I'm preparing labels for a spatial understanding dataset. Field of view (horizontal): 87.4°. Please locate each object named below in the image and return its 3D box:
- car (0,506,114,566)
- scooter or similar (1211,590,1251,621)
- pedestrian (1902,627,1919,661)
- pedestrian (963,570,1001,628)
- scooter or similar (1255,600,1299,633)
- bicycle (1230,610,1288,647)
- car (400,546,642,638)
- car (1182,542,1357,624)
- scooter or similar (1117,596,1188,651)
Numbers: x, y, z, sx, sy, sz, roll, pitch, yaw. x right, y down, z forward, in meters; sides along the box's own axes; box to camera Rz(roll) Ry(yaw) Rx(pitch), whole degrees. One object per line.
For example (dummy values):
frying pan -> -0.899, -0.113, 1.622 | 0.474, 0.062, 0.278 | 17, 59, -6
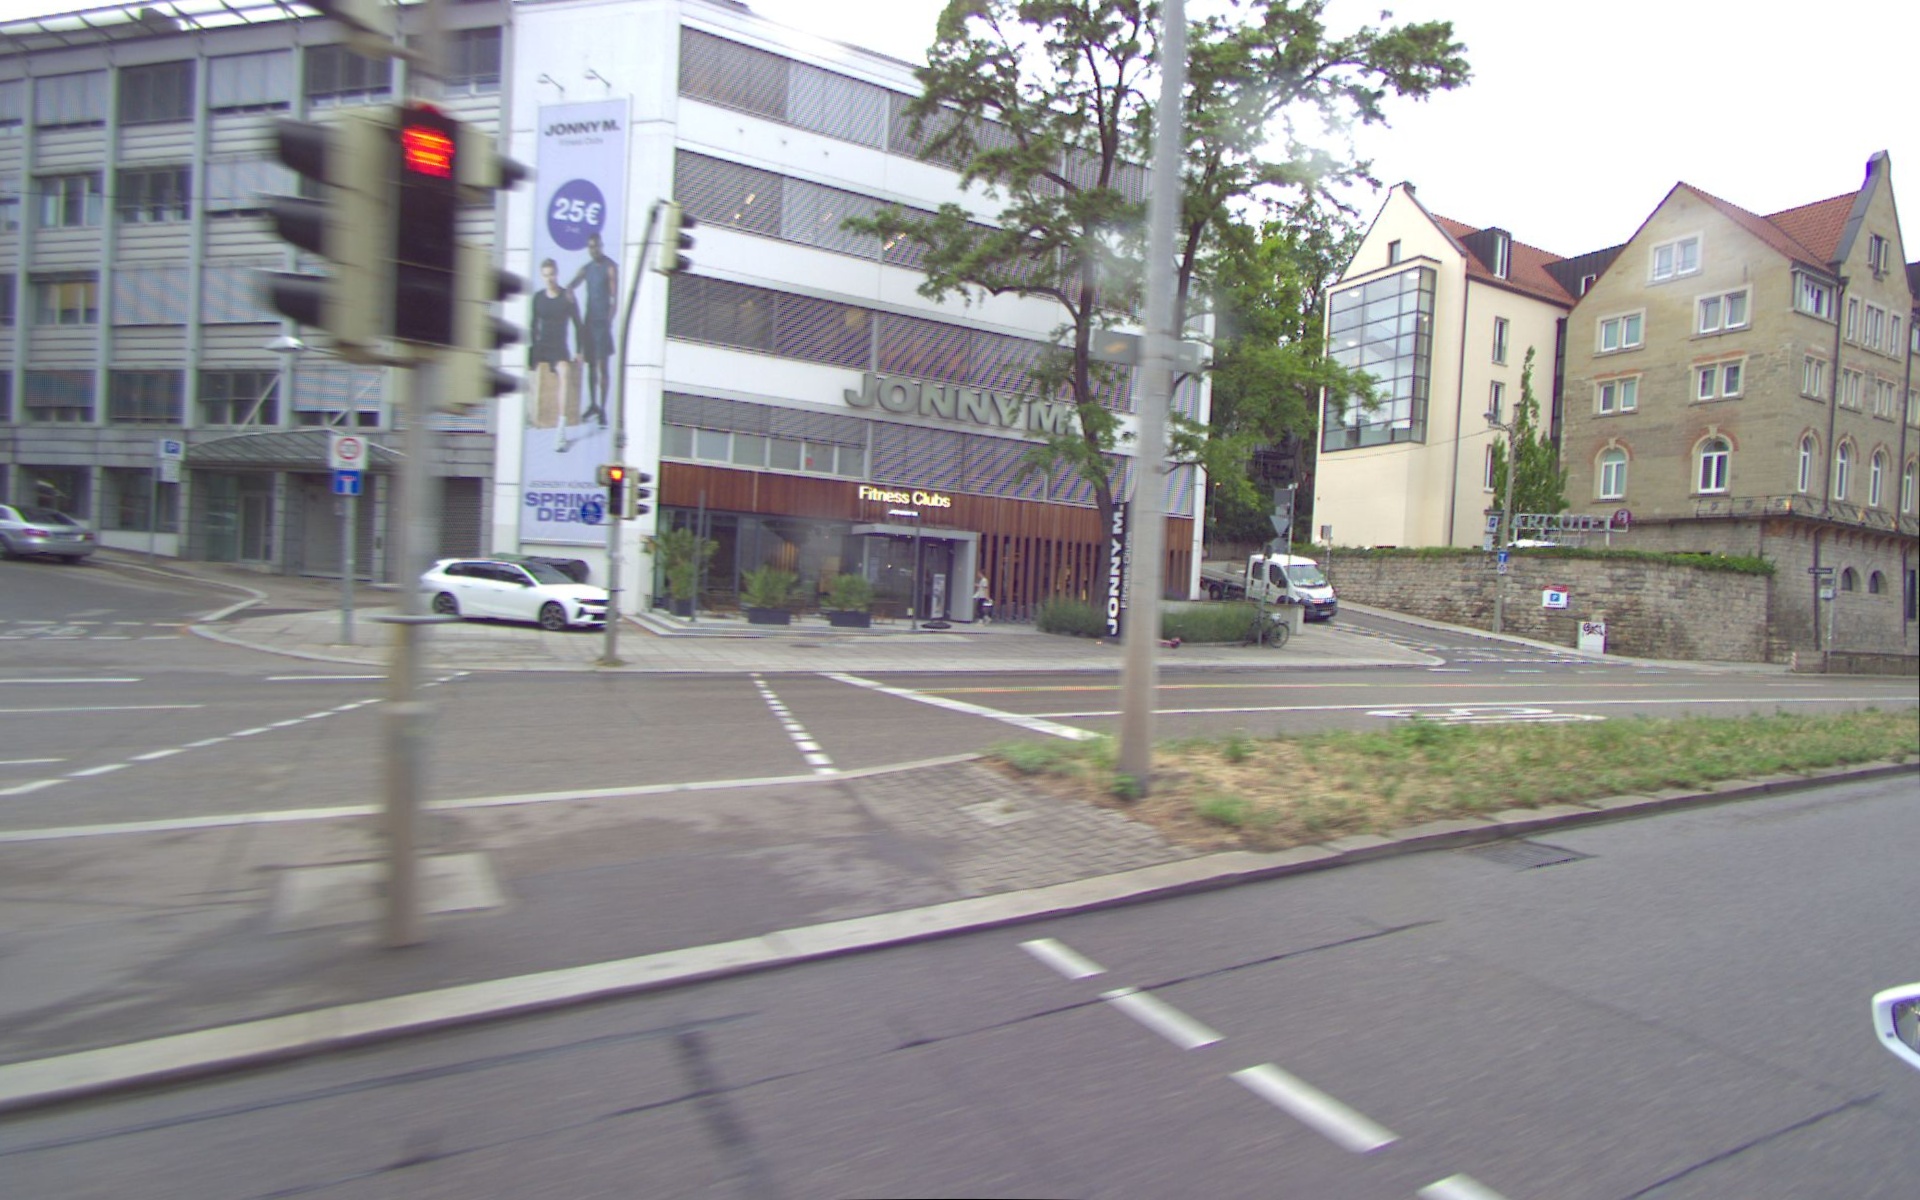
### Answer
car -> -26.777, -1.875, 28.537 | 4.397, 1.485, 2.001 | 4, 2, 14
scooter or similar -> 9.747, 0.186, 36.175 | 0.438, 0.934, 1.462 | 1, 6, -28
pedestrian -> 42.209, 1.932, 44.303 | 0.705, 1.497, 0.751 | 1, 0, -27
pedestrian -> 0.638, -0.018, 29.589 | 0.831, 1.663, 0.765 | 1, 0, -28
scooter or similar -> 10.648, 0.540, 33.813 | 0.438, 0.934, 1.462 | 1, 6, -28
bicycle -> 8.524, 0.812, 28.625 | 1.736, 1.004, 0.455 | 2, 1, -27
car -> -10.021, -0.217, 23.067 | 4.746, 1.676, 2.001 | 4, 2, 12
car -> 11.884, -0.805, 39.313 | 2.480, 2.308, 6.877 | -2, 9, -25
scooter or similar -> 5.046, 0.599, 26.360 | 1.726, 1.263, 0.369 | 6, 3, 34
